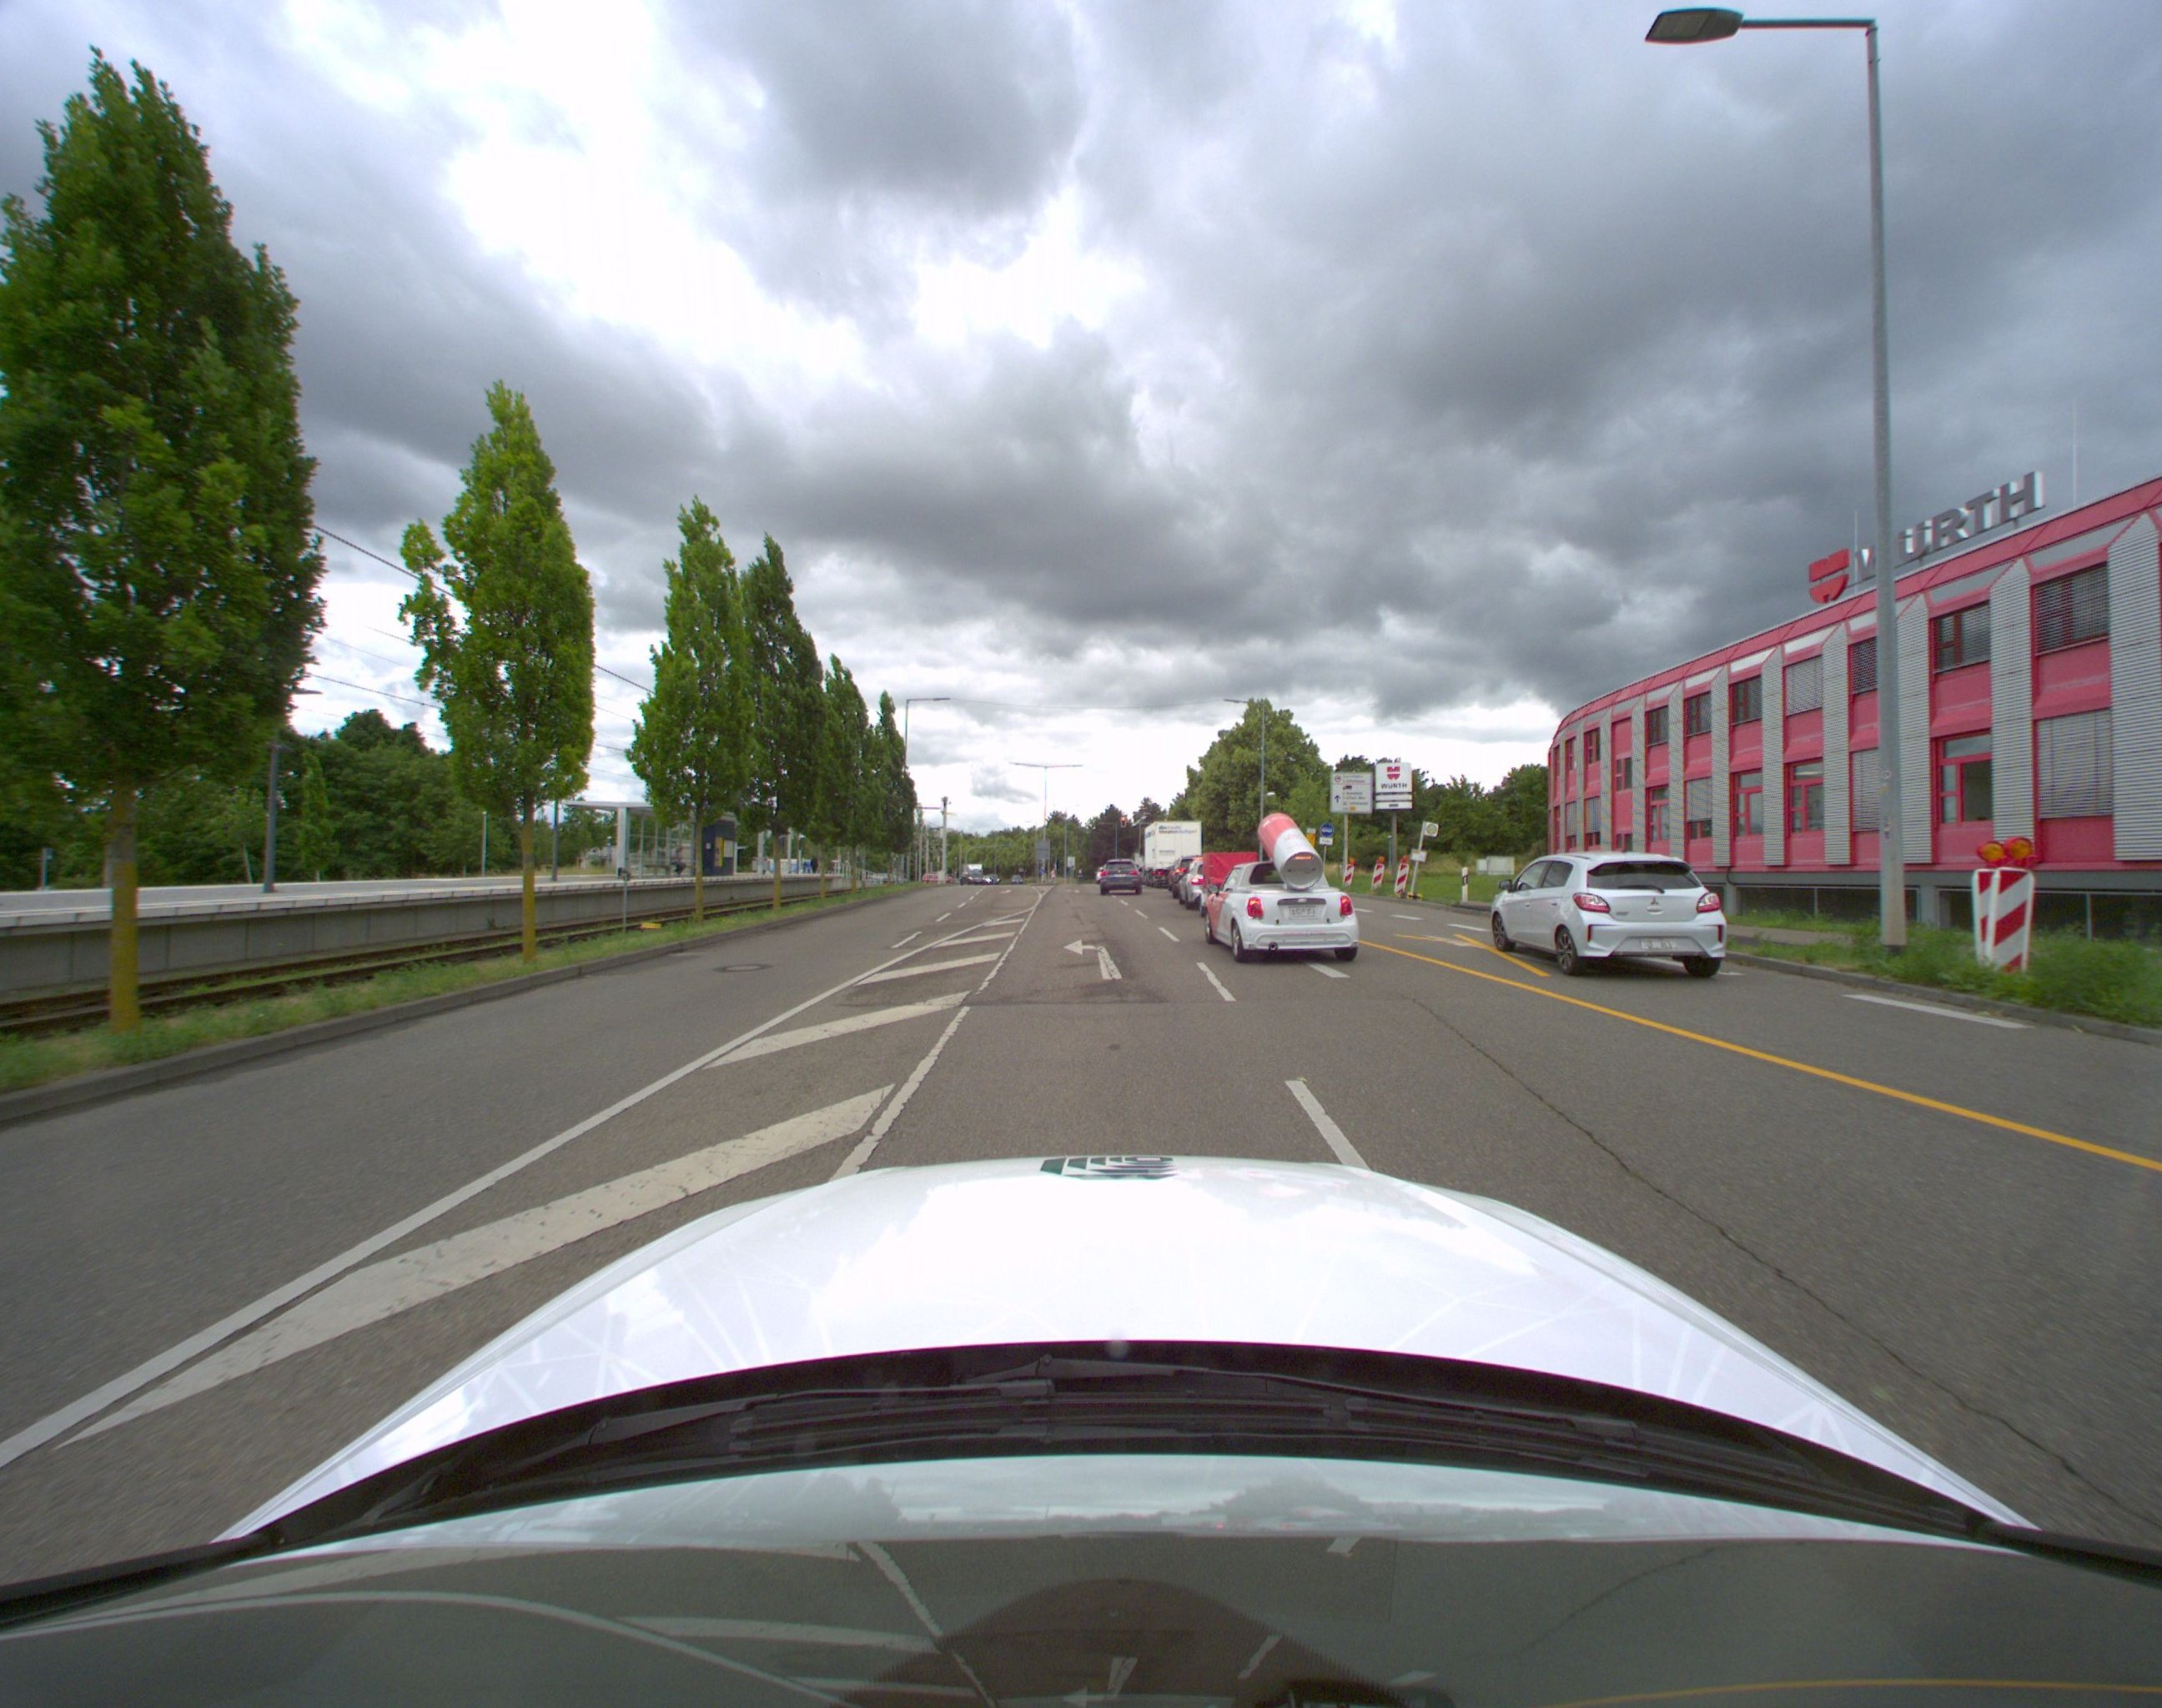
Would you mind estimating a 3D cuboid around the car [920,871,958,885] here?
[{"bbox_3d":[-15.966,2.692,91.555,4.034,1.488,1.718,-1,-2,30],"label":"car"}]

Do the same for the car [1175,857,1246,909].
[{"bbox_3d":[3.859,0.827,24.873,1.664,1.447,4.493,-1,-1,3],"label":"car"}]

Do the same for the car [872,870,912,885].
[{"bbox_3d":[-21.699,2.689,93.591,3.964,1.596,2.005,-1,1,8],"label":"car"}]

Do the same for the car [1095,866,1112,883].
[{"bbox_3d":[2.076,1.891,75.870,1.530,1.504,2.669,-1,-2,-1],"label":"car"}]

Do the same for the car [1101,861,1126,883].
[{"bbox_3d":[2.420,1.321,61.409,1.793,1.523,4.188,-1,0,1],"label":"car"}]

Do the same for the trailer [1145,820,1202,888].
[{"bbox_3d":[5.355,-0.042,48.425,2.557,3.705,7.764,-1,1,0],"label":"trailer"}]

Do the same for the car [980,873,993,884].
[{"bbox_3d":[-15.483,3.962,133.333,1.771,1.508,3.744,-2,1,-2],"label":"car"}]

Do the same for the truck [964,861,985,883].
[{"bbox_3d":[-18.658,3.055,142.229,2.662,3.649,9.462,-1,0,-12],"label":"truck"}]

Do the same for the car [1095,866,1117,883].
[{"bbox_3d":[2.148,1.799,70.518,1.716,1.422,4.354,-1,-2,-1],"label":"car"}]

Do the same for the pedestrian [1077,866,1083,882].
[{"bbox_3d":[-0.126,2.083,83.424,0.585,1.621,0.423,-1,1,-3],"label":"pedestrian"}]

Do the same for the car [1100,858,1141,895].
[{"bbox_3d":[1.703,0.950,36.098,1.692,1.486,4.001,-1,0,1],"label":"car"}]

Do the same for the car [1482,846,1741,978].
[{"bbox_3d":[6.794,0.659,10.916,1.613,1.457,3.699,0,-1,10],"label":"car"}]

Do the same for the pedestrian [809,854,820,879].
[{"bbox_3d":[-20.238,0.962,61.860,0.571,1.828,0.792,0,-2,-4],"label":"pedestrian"}]

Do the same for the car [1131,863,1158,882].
[{"bbox_3d":[5.058,1.448,65.148,1.819,1.435,4.213,-1,0,0],"label":"car"}]

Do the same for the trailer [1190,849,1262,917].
[{"bbox_3d":[3.658,0.697,20.982,1.403,1.594,3.305,-1,0,3],"label":"trailer"}]

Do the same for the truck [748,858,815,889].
[{"bbox_3d":[-36.736,2.406,99.987,7.209,3.598,2.694,-1,1,3],"label":"truck"}]

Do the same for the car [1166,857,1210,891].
[{"bbox_3d":[4.988,0.930,38.477,1.700,1.524,4.322,-1,-1,3],"label":"car"}]

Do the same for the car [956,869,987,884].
[{"bbox_3d":[-11.286,2.332,83.843,1.737,1.574,3.668,1,-2,-33],"label":"car"}]

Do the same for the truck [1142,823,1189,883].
[{"bbox_3d":[5.393,-0.093,52.412,2.562,3.705,4.106,-1,0,0],"label":"truck"}]

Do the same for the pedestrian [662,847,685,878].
[{"bbox_3d":[-17.107,0.344,34.189,0.609,1.269,0.658,-1,1,-6],"label":"pedestrian"}]

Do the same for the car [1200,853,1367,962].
[{"bbox_3d":[3.009,0.740,12.853,1.713,1.457,3.696,-1,-1,0],"label":"car"}]

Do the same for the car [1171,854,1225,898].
[{"bbox_3d":[4.508,0.820,31.979,1.836,1.561,4.410,-1,-1,5],"label":"car"}]

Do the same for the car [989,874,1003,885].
[{"bbox_3d":[-14.628,4.358,140.544,1.918,1.728,3.981,0,-4,-13],"label":"car"}]

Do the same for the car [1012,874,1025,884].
[{"bbox_3d":[-10.308,4.145,134.428,1.913,1.576,3.992,-1,0,-6],"label":"car"}]

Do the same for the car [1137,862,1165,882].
[{"bbox_3d":[5.112,1.314,59.824,1.805,1.354,4.120,-1,0,2],"label":"car"}]

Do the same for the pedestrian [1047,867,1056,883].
[{"bbox_3d":[-2.910,2.055,81.299,0.862,1.560,0.518,-1,1,-3],"label":"pedestrian"}]
